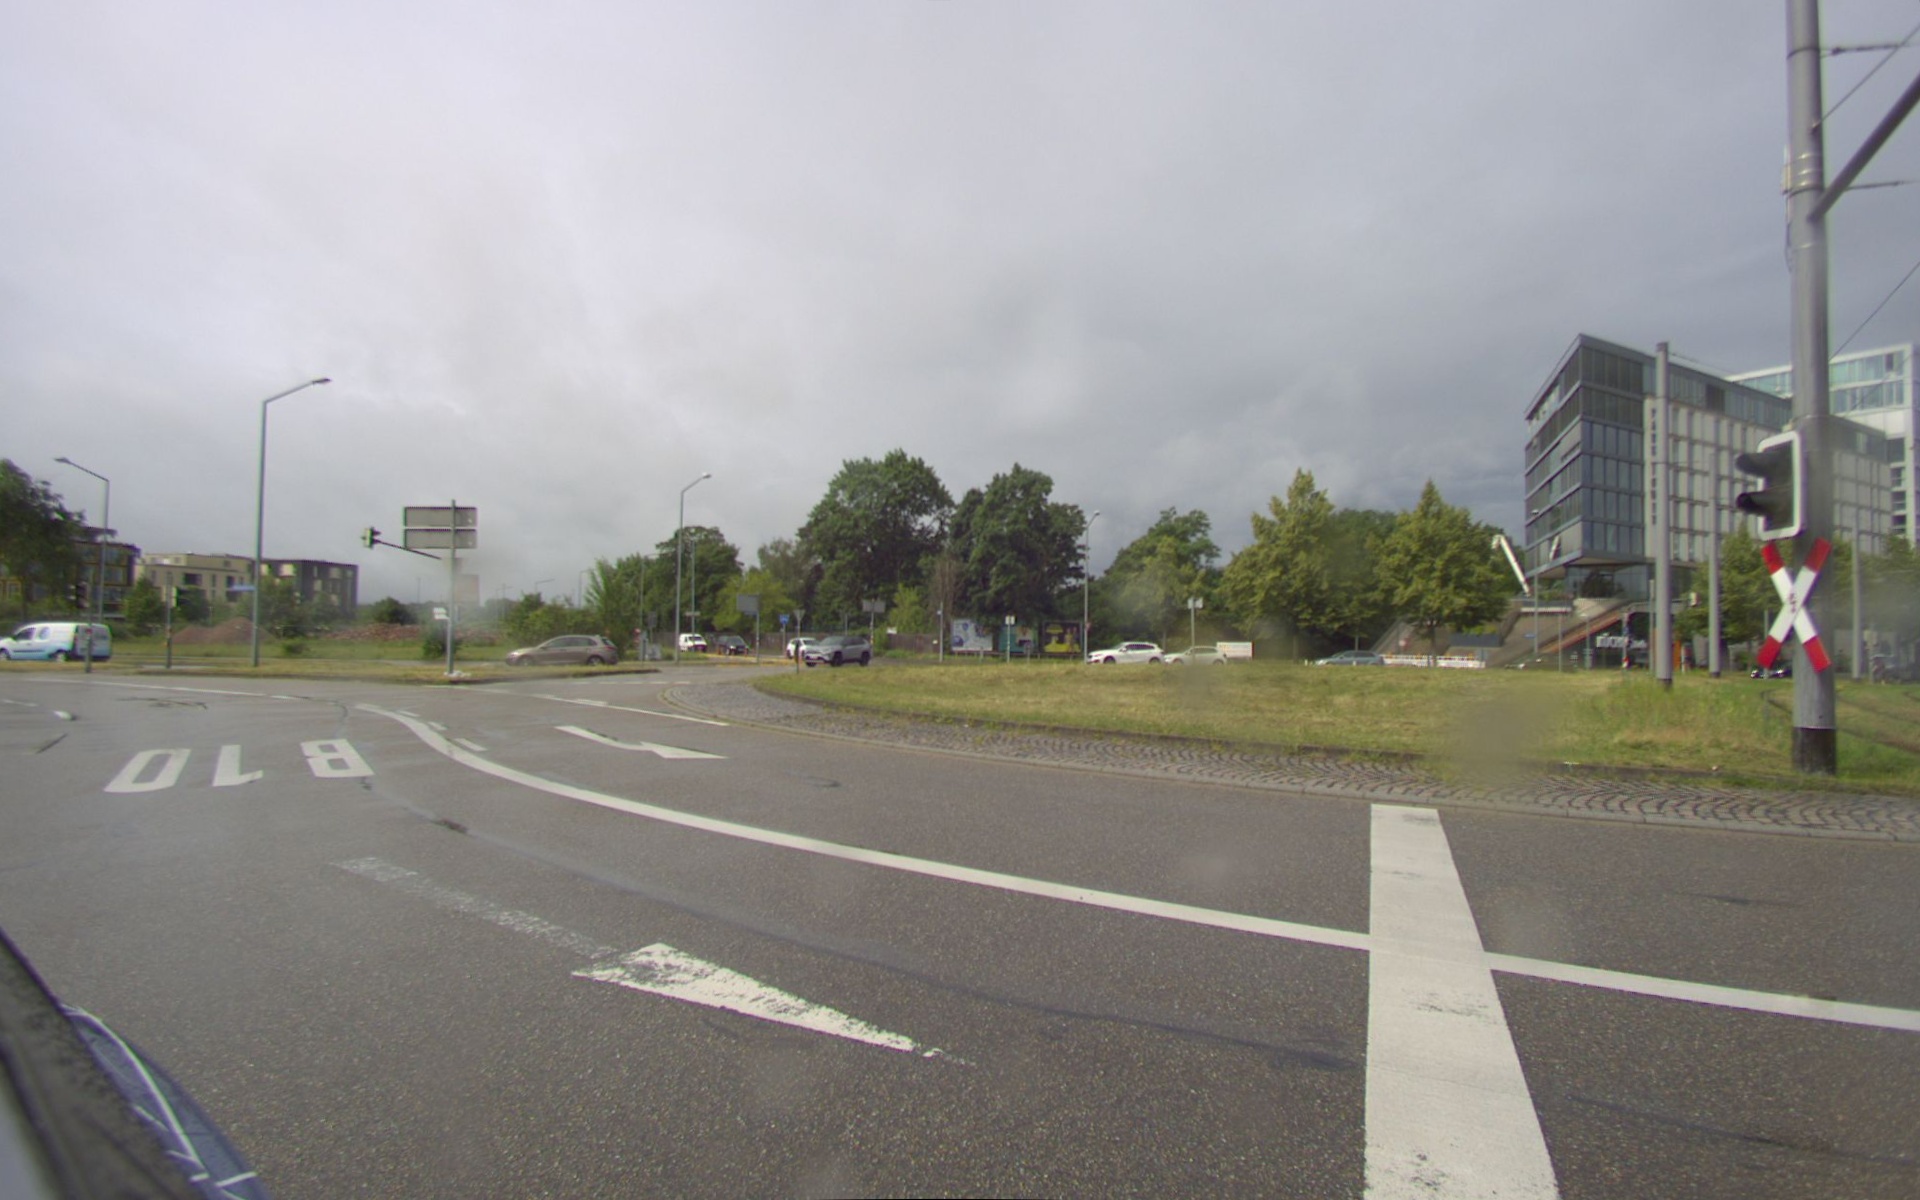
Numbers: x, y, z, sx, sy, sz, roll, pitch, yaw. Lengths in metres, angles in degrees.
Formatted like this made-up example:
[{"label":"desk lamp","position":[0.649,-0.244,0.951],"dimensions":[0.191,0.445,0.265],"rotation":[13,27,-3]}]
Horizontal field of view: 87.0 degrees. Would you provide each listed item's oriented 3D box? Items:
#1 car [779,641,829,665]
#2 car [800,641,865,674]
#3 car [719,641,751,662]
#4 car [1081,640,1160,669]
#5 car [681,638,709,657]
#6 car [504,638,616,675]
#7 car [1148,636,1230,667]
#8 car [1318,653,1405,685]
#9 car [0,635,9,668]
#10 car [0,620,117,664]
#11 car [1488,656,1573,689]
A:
[{"label":"car","position":[-11.342,3.808,73.244],"dimensions":[1.844,1.676,4.494],"rotation":[0,-2,-34]},{"label":"car","position":[-6.645,2.988,53.250],"dimensions":[1.858,1.676,4.462],"rotation":[-1,-2,14]},{"label":"car","position":[-19.545,4.512,87.811],"dimensions":[1.843,1.676,4.497],"rotation":[3,-5,-24]},{"label":"car","position":[8.737,2.983,55.165],"dimensions":[3.840,1.519,1.731],"rotation":[1,-3,-11]},{"label":"car","position":[-25.436,4.593,96.948],"dimensions":[1.843,1.676,4.497],"rotation":[3,-4,-24]},{"label":"car","position":[-16.125,2.267,40.980],"dimensions":[4.057,1.424,1.740],"rotation":[0,-3,-16]},{"label":"car","position":[13.688,3.113,60.562],"dimensions":[4.403,1.685,1.868],"rotation":[2,-4,-4]},{"label":"car","position":[23.706,4.060,59.843],"dimensions":[4.406,1.685,1.867],"rotation":[2,-4,-2]},{"label":"car","position":[-50.175,2.550,50.561],"dimensions":[4.460,1.670,1.865],"rotation":[0,-4,17]},{"label":"car","position":[-38.387,1.789,42.662],"dimensions":[4.501,1.776,1.862],"rotation":[0,-3,10]},{"label":"car","position":[32.266,4.078,57.317],"dimensions":[3.773,1.685,1.864],"rotation":[1,-2,5]}]
